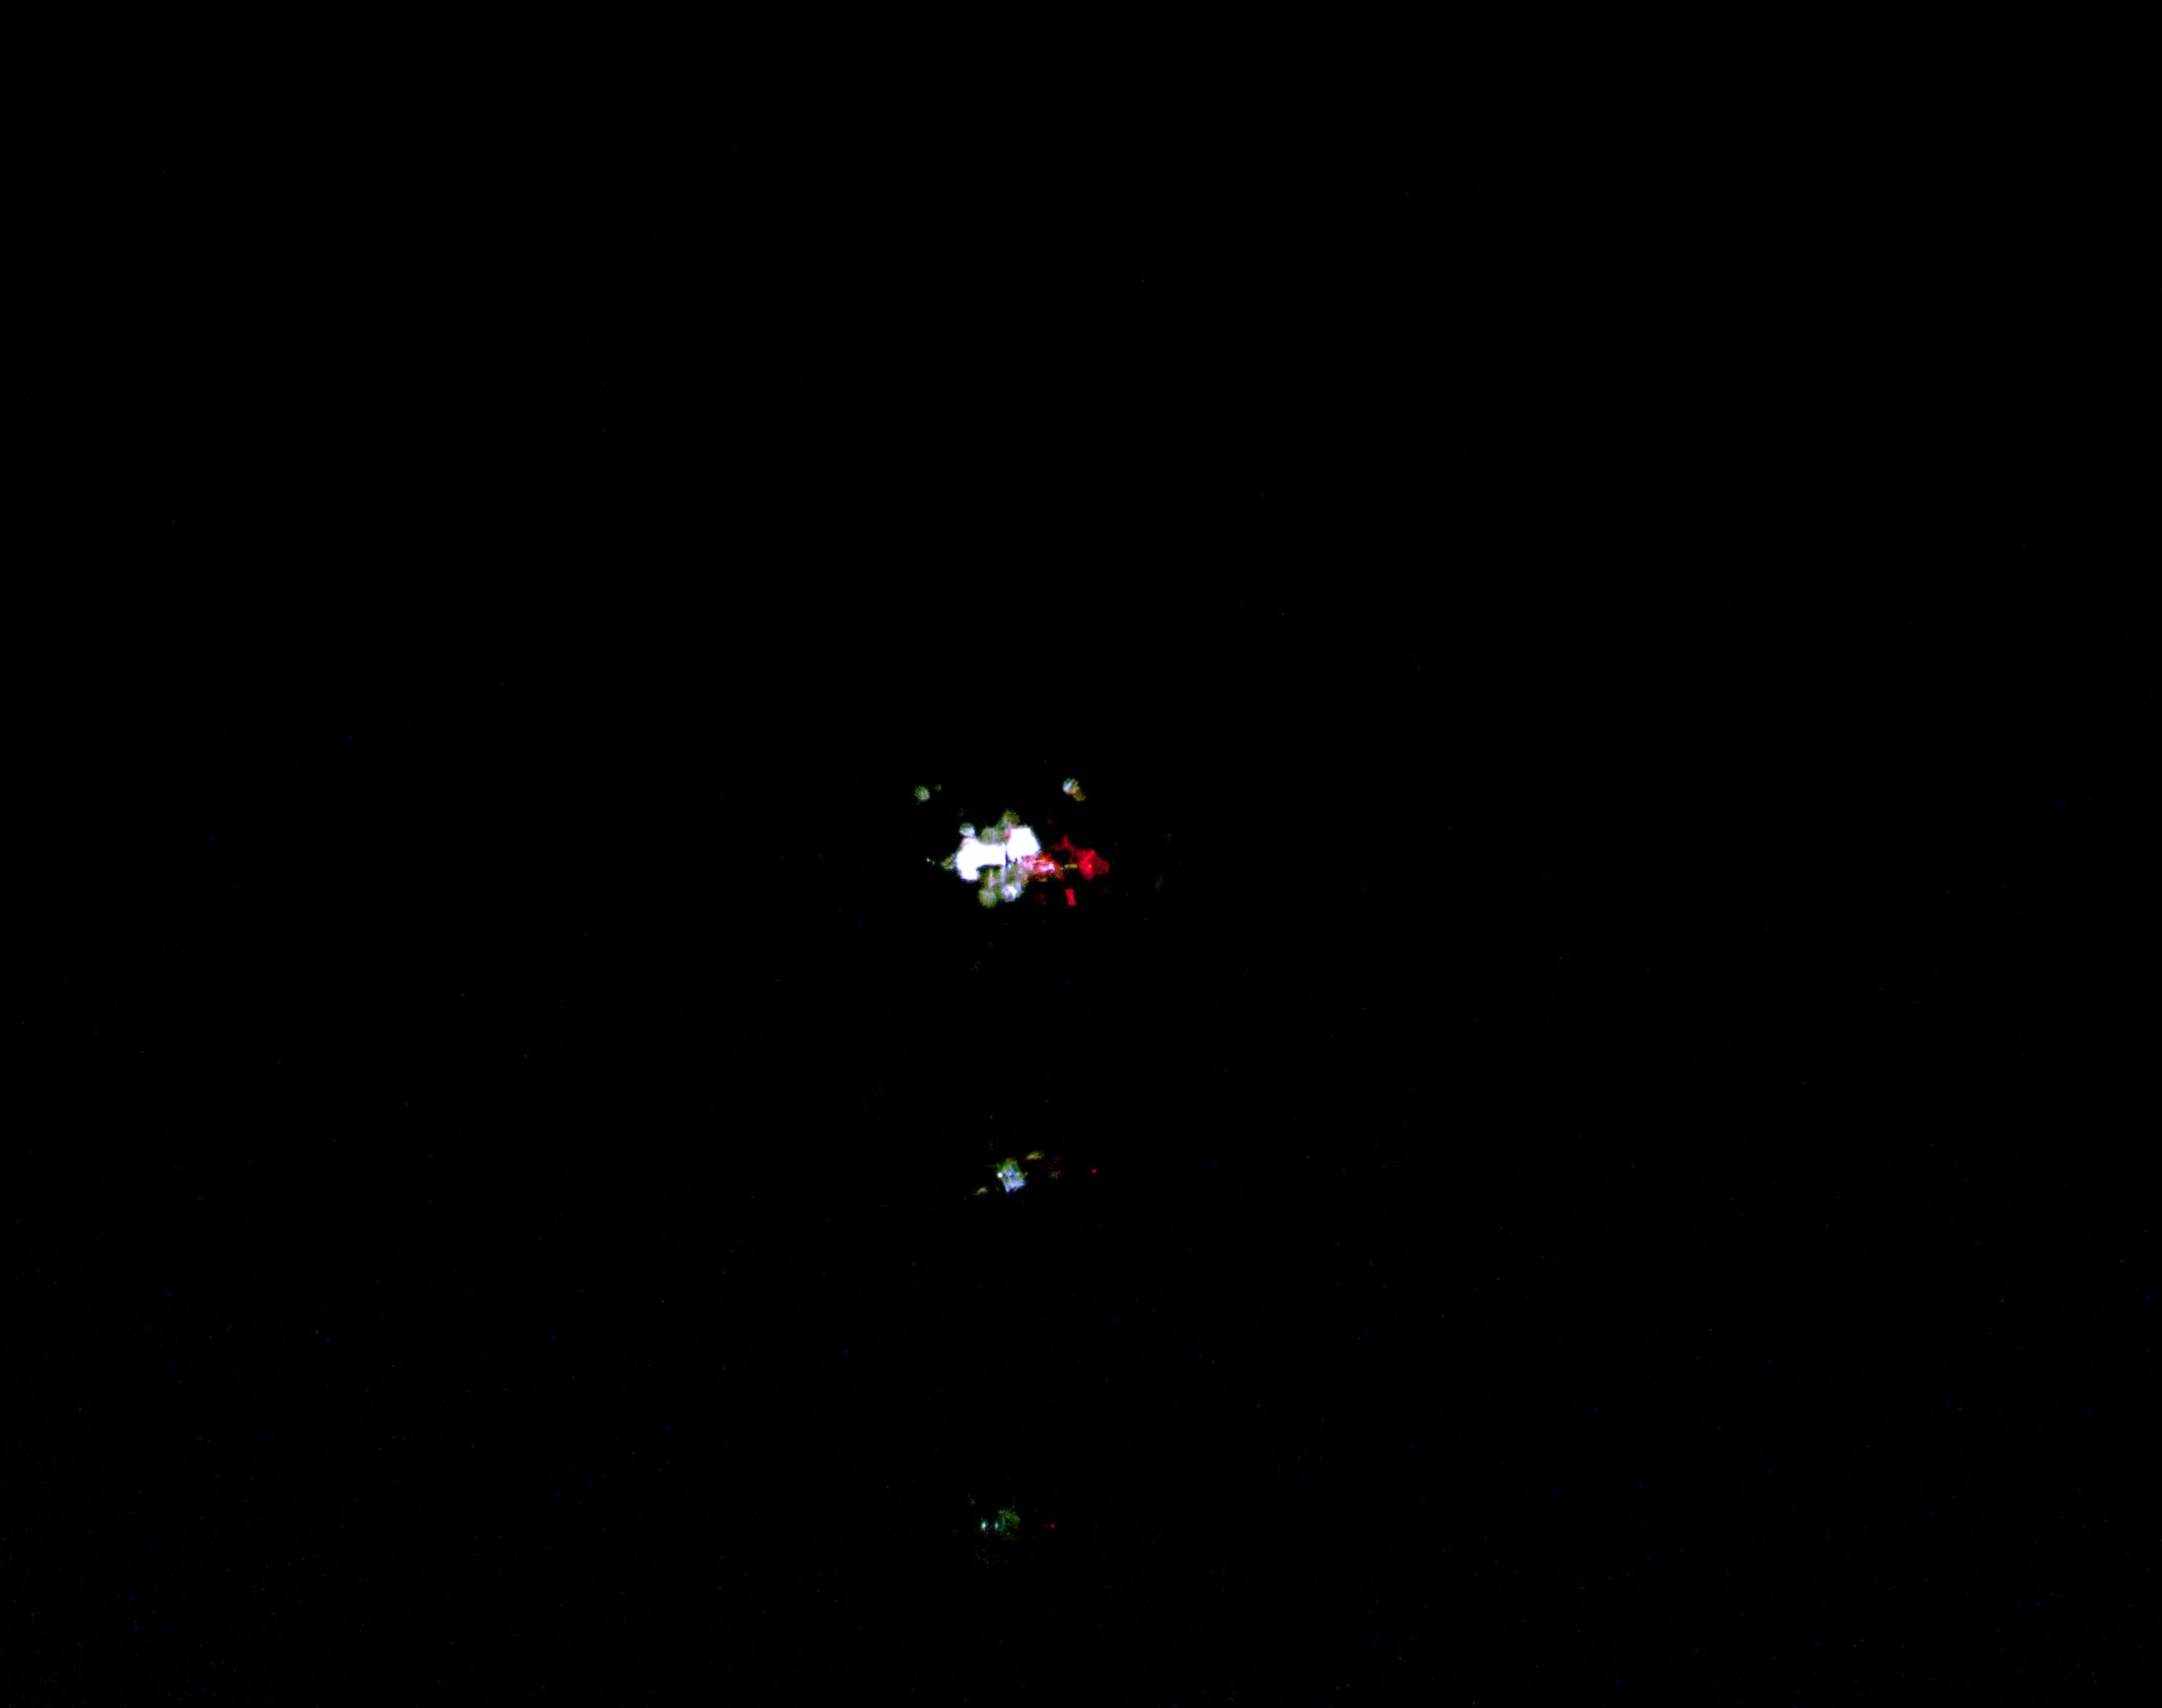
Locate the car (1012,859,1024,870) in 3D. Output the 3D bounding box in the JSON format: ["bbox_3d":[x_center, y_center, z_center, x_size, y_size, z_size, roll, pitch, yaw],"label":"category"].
[{"bbox_3d":[-11.358,1.835,147.374,1.890,1.910,3.786,2,-1,-7],"label":"car"}]

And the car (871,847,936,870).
[{"bbox_3d":[-14.228,0.374,65.609,4.909,1.734,1.995,-1,0,-8],"label":"car"}]

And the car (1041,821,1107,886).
[{"bbox_3d":[-0.380,-0.052,34.703,2.533,2.498,5.709,-1,0,-3],"label":"car"}]

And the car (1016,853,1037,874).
[{"bbox_3d":[-4.891,0.915,73.325,1.737,1.714,3.694,2,-3,-4],"label":"car"}]

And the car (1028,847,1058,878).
[{"bbox_3d":[-2.784,0.663,58.363,1.990,2.014,3.992,2,-3,-4],"label":"car"}]

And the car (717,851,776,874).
[{"bbox_3d":[-26.716,0.690,64.992,4.174,1.687,1.678,-2,-1,-28],"label":"car"}]

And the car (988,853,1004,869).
[{"bbox_3d":[-9.932,0.782,95.044,1.751,1.734,3.991,2,0,-6],"label":"car"}]
